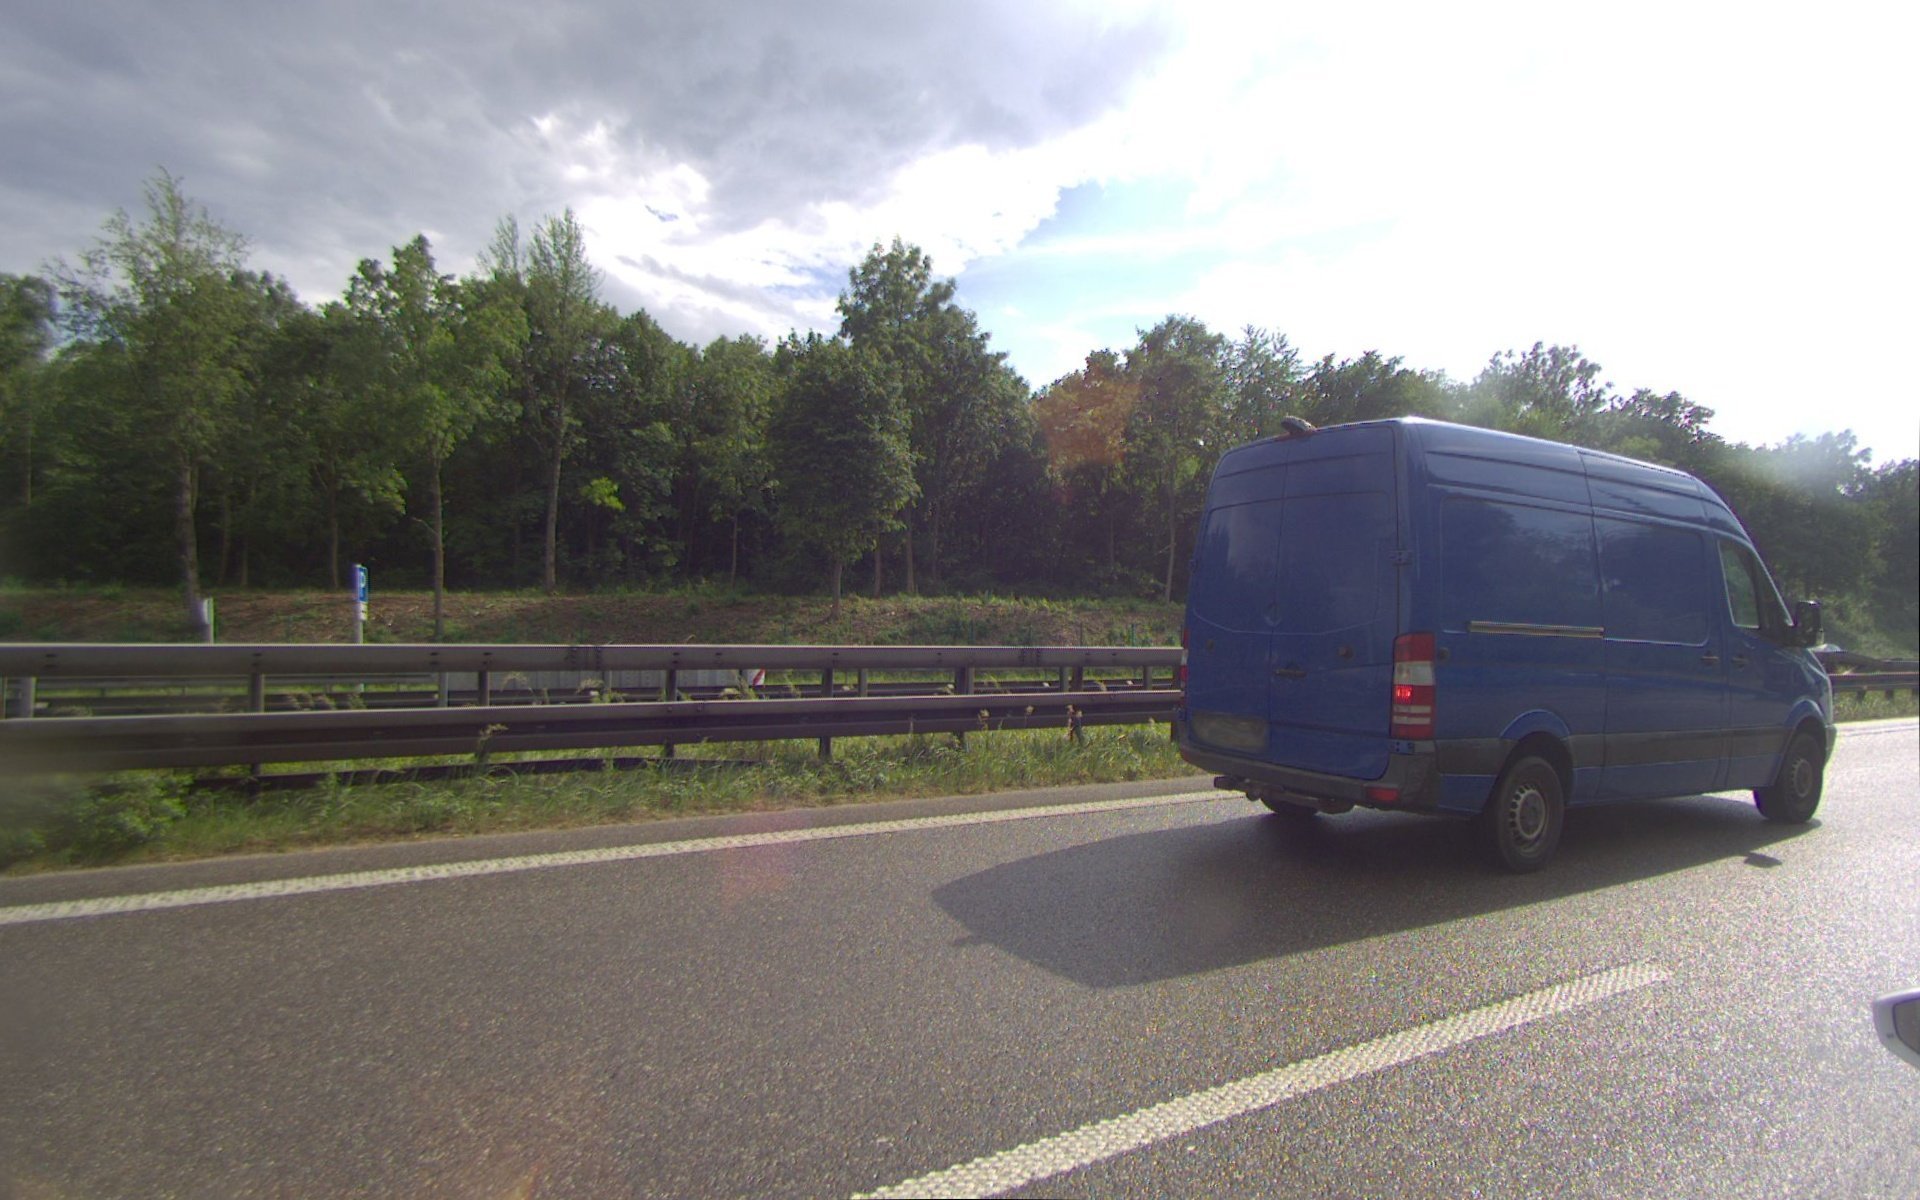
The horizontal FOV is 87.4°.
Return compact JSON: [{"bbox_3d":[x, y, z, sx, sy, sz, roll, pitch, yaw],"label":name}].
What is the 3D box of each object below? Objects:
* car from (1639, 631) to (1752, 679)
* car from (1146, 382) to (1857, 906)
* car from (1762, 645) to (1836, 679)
[{"bbox_3d":[26.415,1.935,36.054,3.954,1.601,1.912,1,-2,-31],"label":"car"},{"bbox_3d":[4.249,0.295,7.483,5.710,2.684,2.005,2,-1,-31],"label":"car"},{"bbox_3d":[41.030,3.002,49.107,3.741,1.502,1.623,1,-1,-30],"label":"car"}]
